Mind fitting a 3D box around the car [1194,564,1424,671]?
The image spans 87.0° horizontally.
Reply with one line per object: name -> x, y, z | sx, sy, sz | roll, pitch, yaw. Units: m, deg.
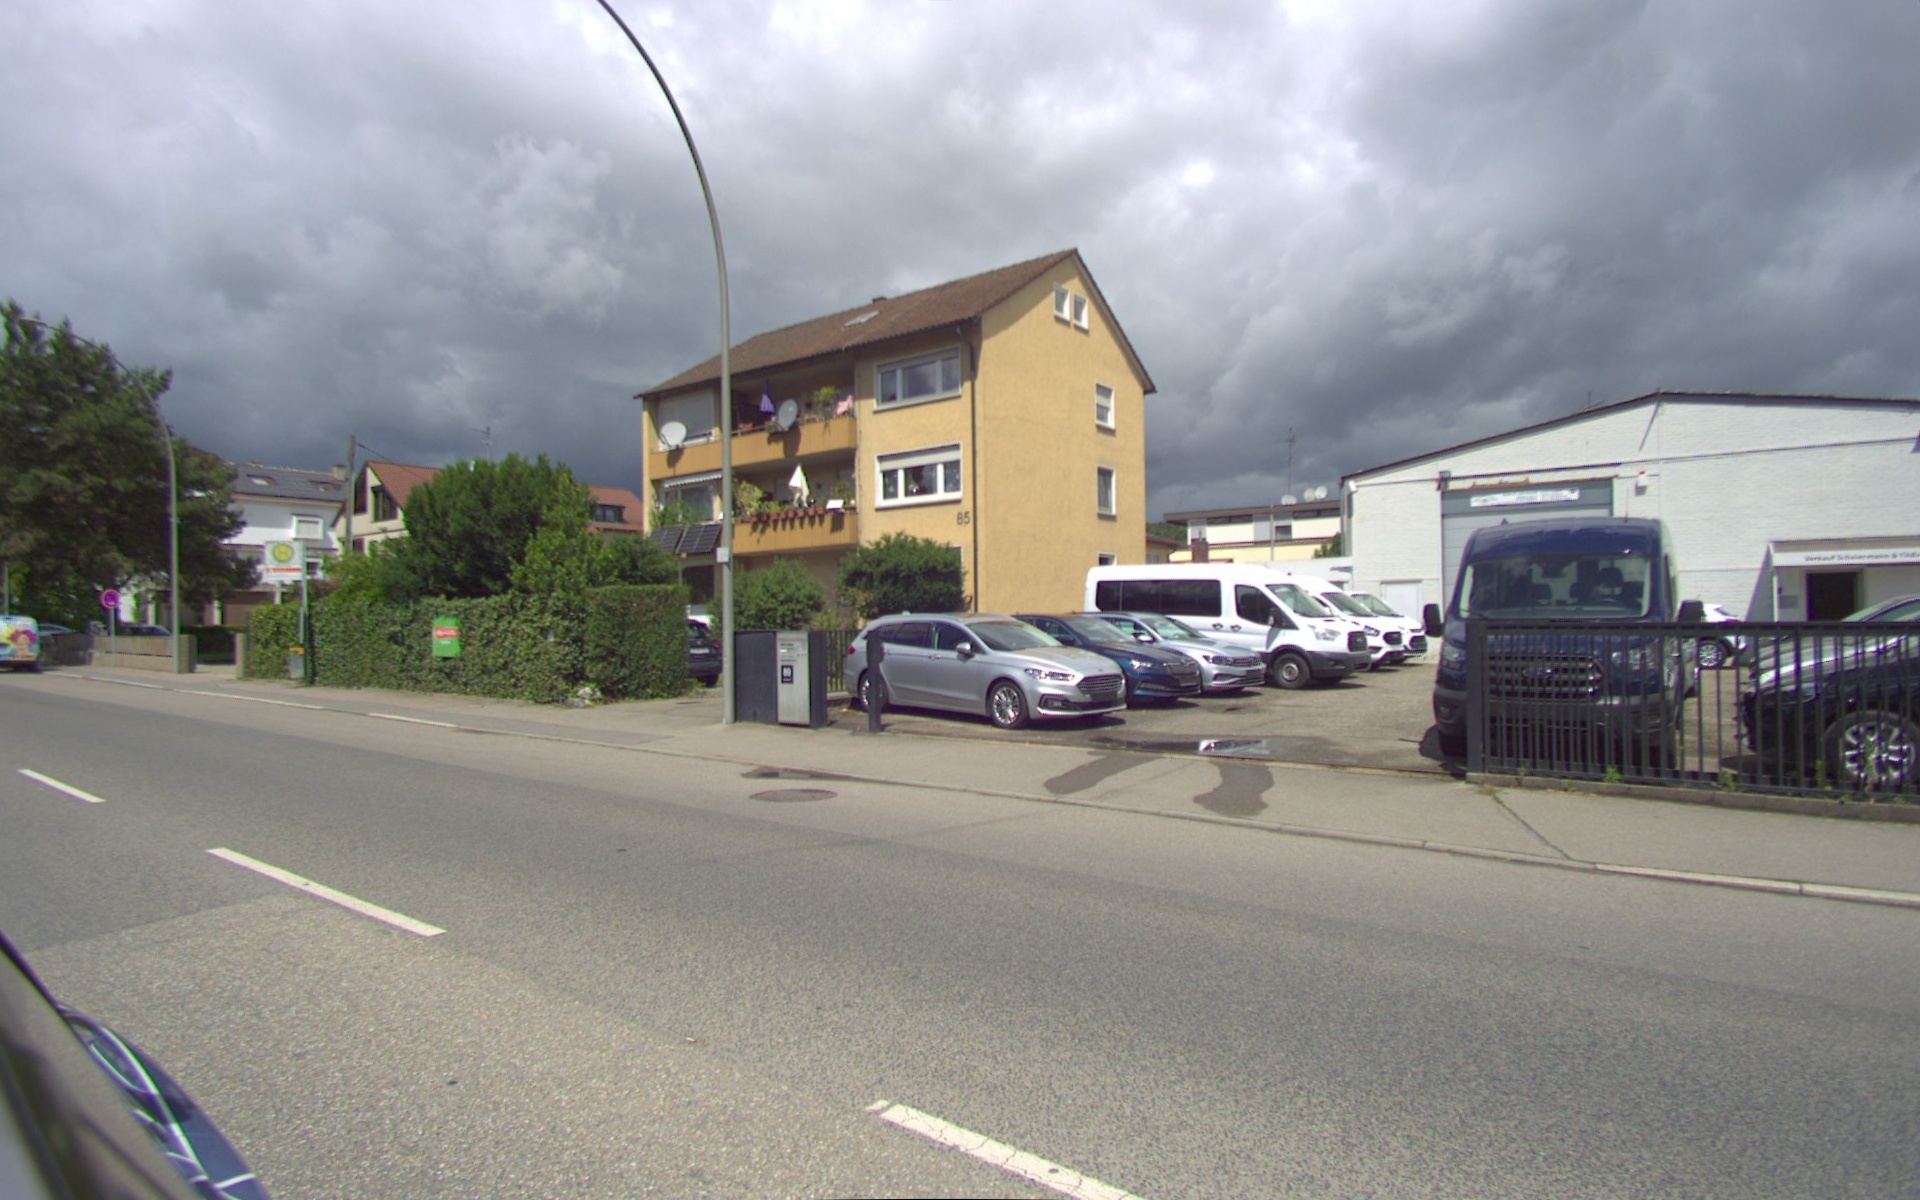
car -> 8.571, 0.456, 25.063 | 4.996, 2.414, 2.072 | -1, -2, 35

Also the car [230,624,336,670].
car -> -28.752, 1.950, 42.909 | 5.471, 1.845, 2.060 | -1, -3, 38

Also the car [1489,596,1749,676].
car -> 15.549, 0.850, 24.123 | 4.996, 1.726, 2.031 | -1, -2, 35

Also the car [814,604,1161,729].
car -> 0.162, 0.866, 14.761 | 1.969, 1.497, 5.348 | 1, -2, -41

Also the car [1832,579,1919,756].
car -> 10.734, 0.614, 9.198 | 3.988, 1.630, 1.762 | -1, -2, 33

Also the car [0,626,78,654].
car -> -54.183, 2.274, 58.173 | 1.969, 1.563, 4.963 | -1, -2, 36

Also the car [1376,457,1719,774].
car -> 6.747, 0.200, 11.168 | 2.474, 2.515, 5.979 | -2, -2, 38

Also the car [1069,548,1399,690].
car -> 5.461, 0.446, 20.824 | 6.132, 2.514, 2.387 | -2, -4, 41

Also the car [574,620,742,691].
car -> -6.867, 1.183, 22.763 | 1.823, 1.437, 4.333 | 1, -2, -44

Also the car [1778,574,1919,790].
car -> 8.924, 0.597, 7.498 | 4.275, 1.607, 2.014 | -1, -2, 35

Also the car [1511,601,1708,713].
car -> 10.128, 0.805, 15.652 | 1.954, 1.490, 3.996 | -2, -2, 41

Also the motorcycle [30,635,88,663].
motorcycle -> -39.876, 2.158, 44.821 | 1.845, 1.174, 0.826 | 1, -2, -36

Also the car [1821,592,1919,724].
car -> 13.448, 0.712, 12.538 | 3.988, 1.630, 1.762 | -1, -2, 33

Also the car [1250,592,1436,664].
car -> 10.234, 0.752, 27.207 | 4.326, 1.806, 1.827 | -1, -2, 39

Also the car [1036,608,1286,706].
car -> 3.575, 0.995, 18.694 | 1.822, 1.589, 4.337 | 1, -2, -41

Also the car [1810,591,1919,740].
car -> 12.085, 0.711, 11.089 | 3.988, 1.630, 1.762 | -1, -2, 33

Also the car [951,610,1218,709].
car -> 1.944, 0.925, 16.897 | 1.822, 1.437, 4.337 | 1, -2, -41

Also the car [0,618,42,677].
car -> -32.399, 1.589, 33.682 | 4.888, 1.868, 1.815 | -3, -6, 38
